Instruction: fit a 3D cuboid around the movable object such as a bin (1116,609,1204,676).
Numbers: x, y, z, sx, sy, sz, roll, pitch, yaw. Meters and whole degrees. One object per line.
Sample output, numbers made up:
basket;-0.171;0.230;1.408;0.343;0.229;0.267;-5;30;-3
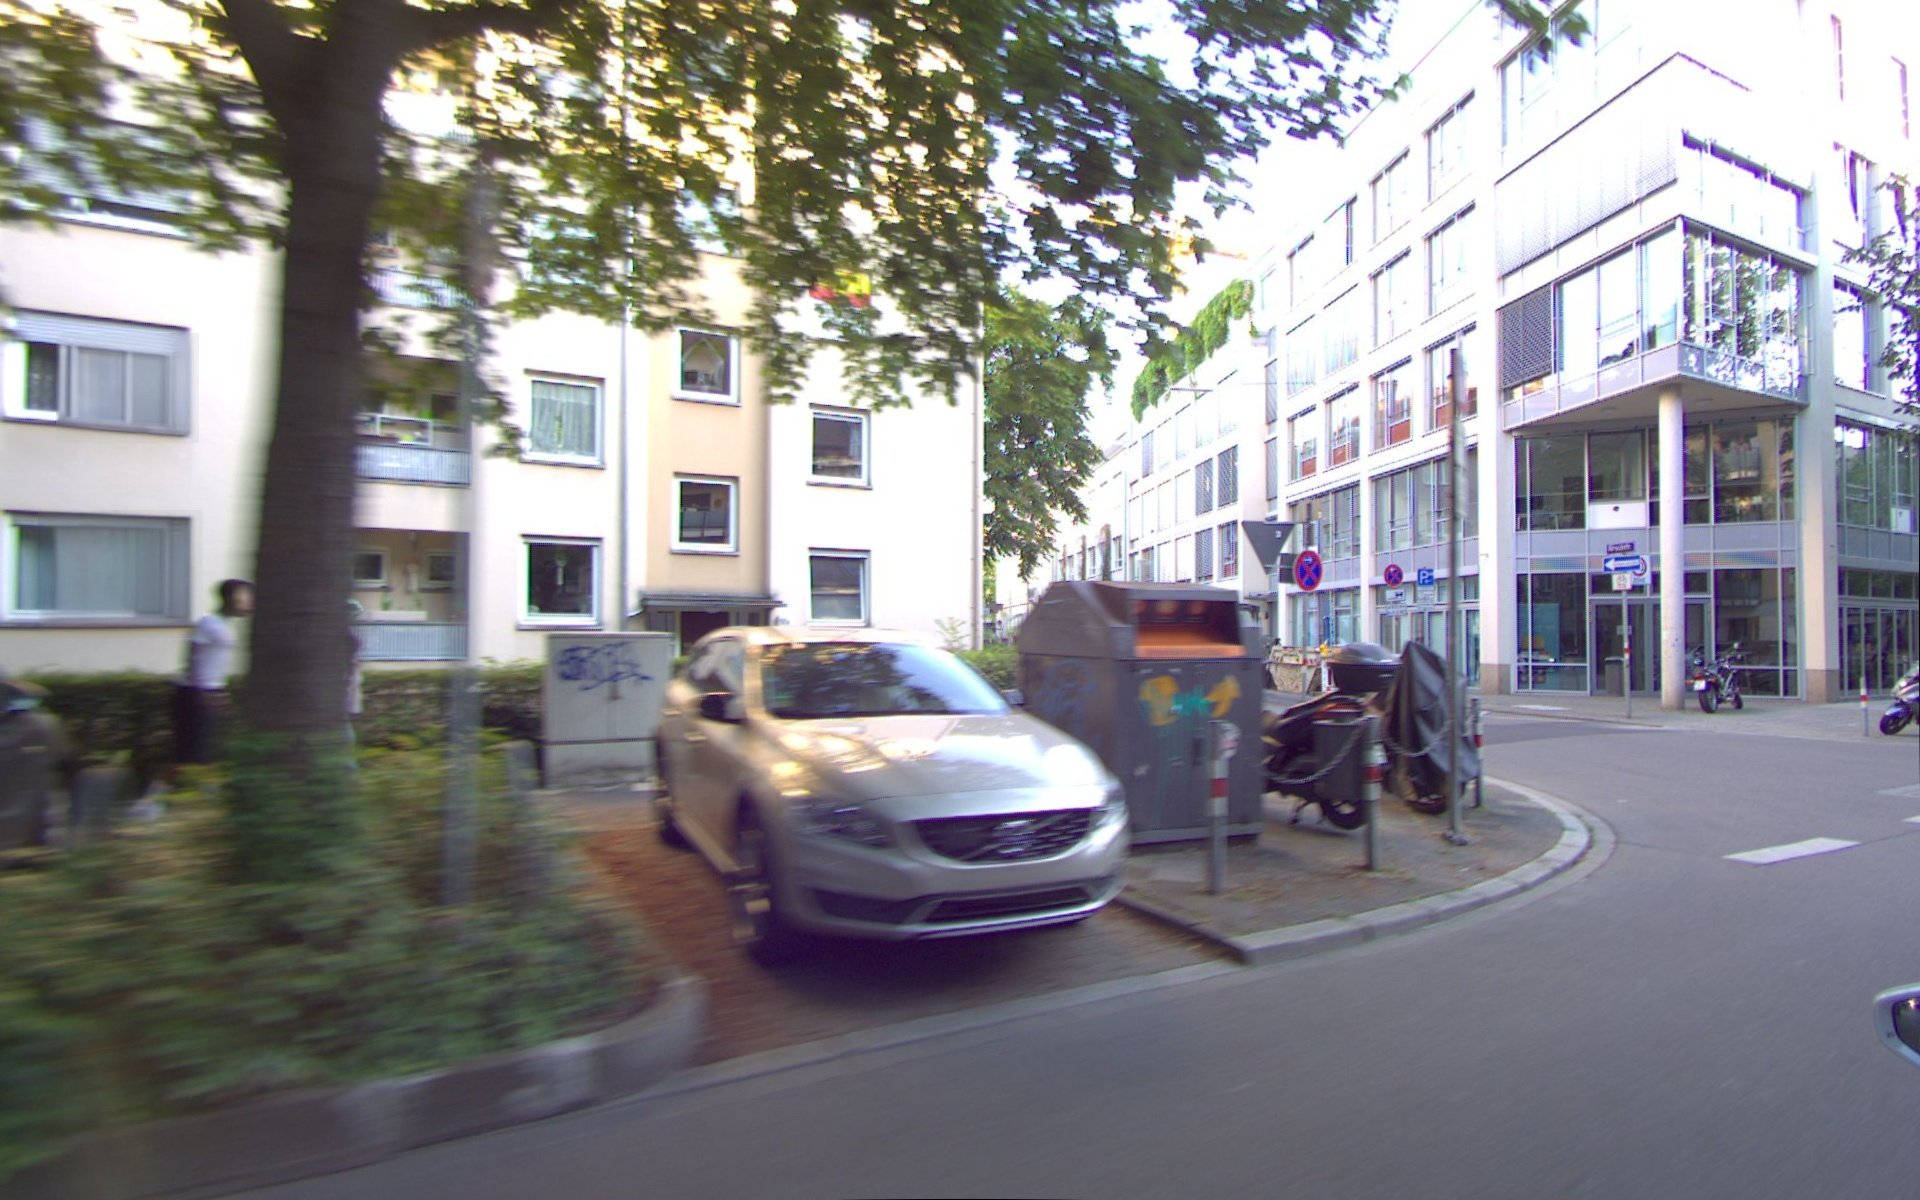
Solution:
movable object such as a bin;8.284;1.783;42.174;2.132;2.630;5.539;1;-2;-6

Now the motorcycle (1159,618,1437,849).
motorcycle;2.492;0.912;7.750;0.682;1.513;2.210;1;-2;-26

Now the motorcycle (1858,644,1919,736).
motorcycle;16.094;1.452;16.134;2.333;1.460;0.801;0;-1;22

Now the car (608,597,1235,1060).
car;-0.703;0.828;6.011;2.029;1.602;4.481;2;0;-27

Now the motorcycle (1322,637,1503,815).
motorcycle;3.984;1.039;9.069;0.709;1.392;2.225;0;-2;2

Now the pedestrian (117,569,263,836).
pedestrian;-5.553;0.708;7.288;0.656;1.811;0.695;1;-1;-24

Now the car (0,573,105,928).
car;-5.373;0.710;4.118;2.040;1.707;4.375;1;0;-30

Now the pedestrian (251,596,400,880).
pedestrian;-4.279;0.889;6.791;0.685;1.811;0.529;0;-1;22

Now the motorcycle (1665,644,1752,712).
motorcycle;15.217;1.557;20.397;2.100;1.291;0.611;0;-1;-30

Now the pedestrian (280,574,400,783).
pedestrian;-4.969;0.613;8.074;0.439;1.592;0.661;0;-2;21

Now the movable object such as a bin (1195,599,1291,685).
movable object such as a bin;9.270;1.374;33.193;1.767;2.669;4.109;0;-2;-4
